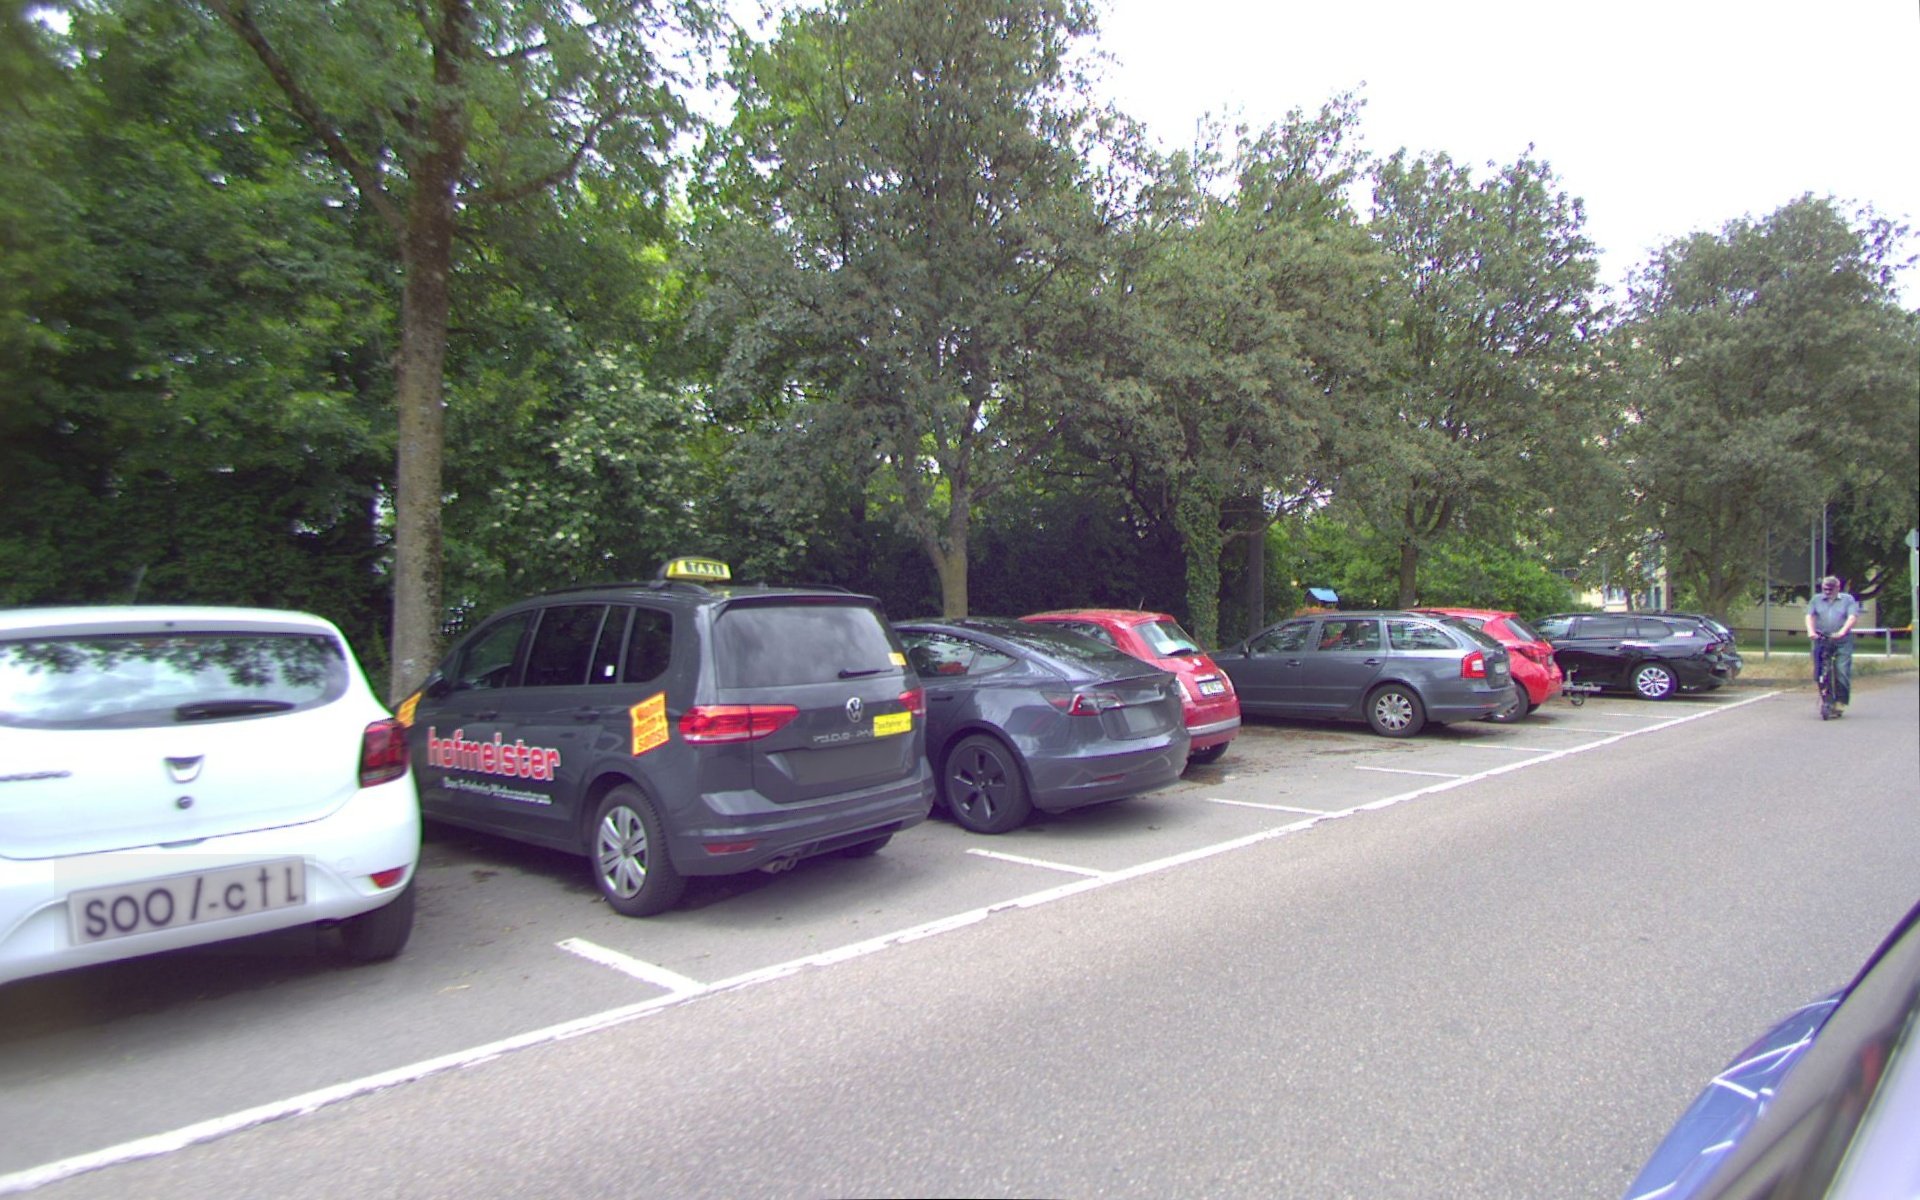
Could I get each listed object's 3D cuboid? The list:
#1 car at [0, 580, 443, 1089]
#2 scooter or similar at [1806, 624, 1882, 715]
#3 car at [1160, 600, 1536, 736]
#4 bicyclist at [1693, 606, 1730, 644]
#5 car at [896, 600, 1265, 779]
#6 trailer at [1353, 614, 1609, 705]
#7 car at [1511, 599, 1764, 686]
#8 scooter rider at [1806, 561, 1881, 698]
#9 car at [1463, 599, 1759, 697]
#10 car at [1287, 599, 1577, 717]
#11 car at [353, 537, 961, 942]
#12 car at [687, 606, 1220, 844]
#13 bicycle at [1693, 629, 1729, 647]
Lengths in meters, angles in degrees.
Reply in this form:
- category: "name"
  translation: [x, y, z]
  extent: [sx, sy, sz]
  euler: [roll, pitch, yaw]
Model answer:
- category: "car"
  translation: [-3.927, 0.739, 4.805]
  extent: [1.580, 1.549, 3.822]
  euler: [0, -1, -44]
- category: "scooter or similar"
  translation: [11.976, 0.904, 13.697]
  extent: [0.681, 1.154, 1.436]
  euler: [-1, -2, 44]
- category: "car"
  translation: [4.839, 0.774, 13.002]
  extent: [4.214, 1.483, 1.610]
  euler: [-1, -1, 41]
- category: "bicyclist"
  translation: [25.885, 0.874, 34.869]
  extent: [0.510, 1.202, 0.966]
  euler: [6, -6, 4]
- category: "car"
  translation: [1.118, 0.766, 10.077]
  extent: [3.321, 1.483, 1.611]
  euler: [-1, -1, 40]
- category: "trailer"
  translation: [8.335, 0.893, 16.315]
  extent: [3.397, 1.283, 1.593]
  euler: [-1, 0, 40]
- category: "car"
  translation: [12.746, 0.769, 19.198]
  extent: [1.549, 1.495, 3.719]
  euler: [1, -2, -43]
- category: "scooter rider"
  translation: [11.938, 0.385, 13.670]
  extent: [0.681, 1.752, 1.177]
  euler: [-1, -2, 44]
- category: "car"
  translation: [11.101, 0.775, 17.448]
  extent: [4.126, 1.495, 1.554]
  euler: [-1, -1, 38]
- category: "car"
  translation: [6.699, 0.762, 14.504]
  extent: [3.515, 1.495, 1.570]
  euler: [-1, -1, 38]
- category: "car"
  translation: [-2.059, 0.627, 6.276]
  extent: [3.977, 1.747, 1.657]
  euler: [-1, -1, 39]
- category: "car"
  translation: [-0.227, 0.789, 8.086]
  extent: [4.151, 1.424, 1.674]
  euler: [-1, -1, 39]
- category: "bicycle"
  translation: [25.839, 1.316, 34.834]
  extent: [0.510, 0.504, 0.987]
  euler: [7, -6, 4]
